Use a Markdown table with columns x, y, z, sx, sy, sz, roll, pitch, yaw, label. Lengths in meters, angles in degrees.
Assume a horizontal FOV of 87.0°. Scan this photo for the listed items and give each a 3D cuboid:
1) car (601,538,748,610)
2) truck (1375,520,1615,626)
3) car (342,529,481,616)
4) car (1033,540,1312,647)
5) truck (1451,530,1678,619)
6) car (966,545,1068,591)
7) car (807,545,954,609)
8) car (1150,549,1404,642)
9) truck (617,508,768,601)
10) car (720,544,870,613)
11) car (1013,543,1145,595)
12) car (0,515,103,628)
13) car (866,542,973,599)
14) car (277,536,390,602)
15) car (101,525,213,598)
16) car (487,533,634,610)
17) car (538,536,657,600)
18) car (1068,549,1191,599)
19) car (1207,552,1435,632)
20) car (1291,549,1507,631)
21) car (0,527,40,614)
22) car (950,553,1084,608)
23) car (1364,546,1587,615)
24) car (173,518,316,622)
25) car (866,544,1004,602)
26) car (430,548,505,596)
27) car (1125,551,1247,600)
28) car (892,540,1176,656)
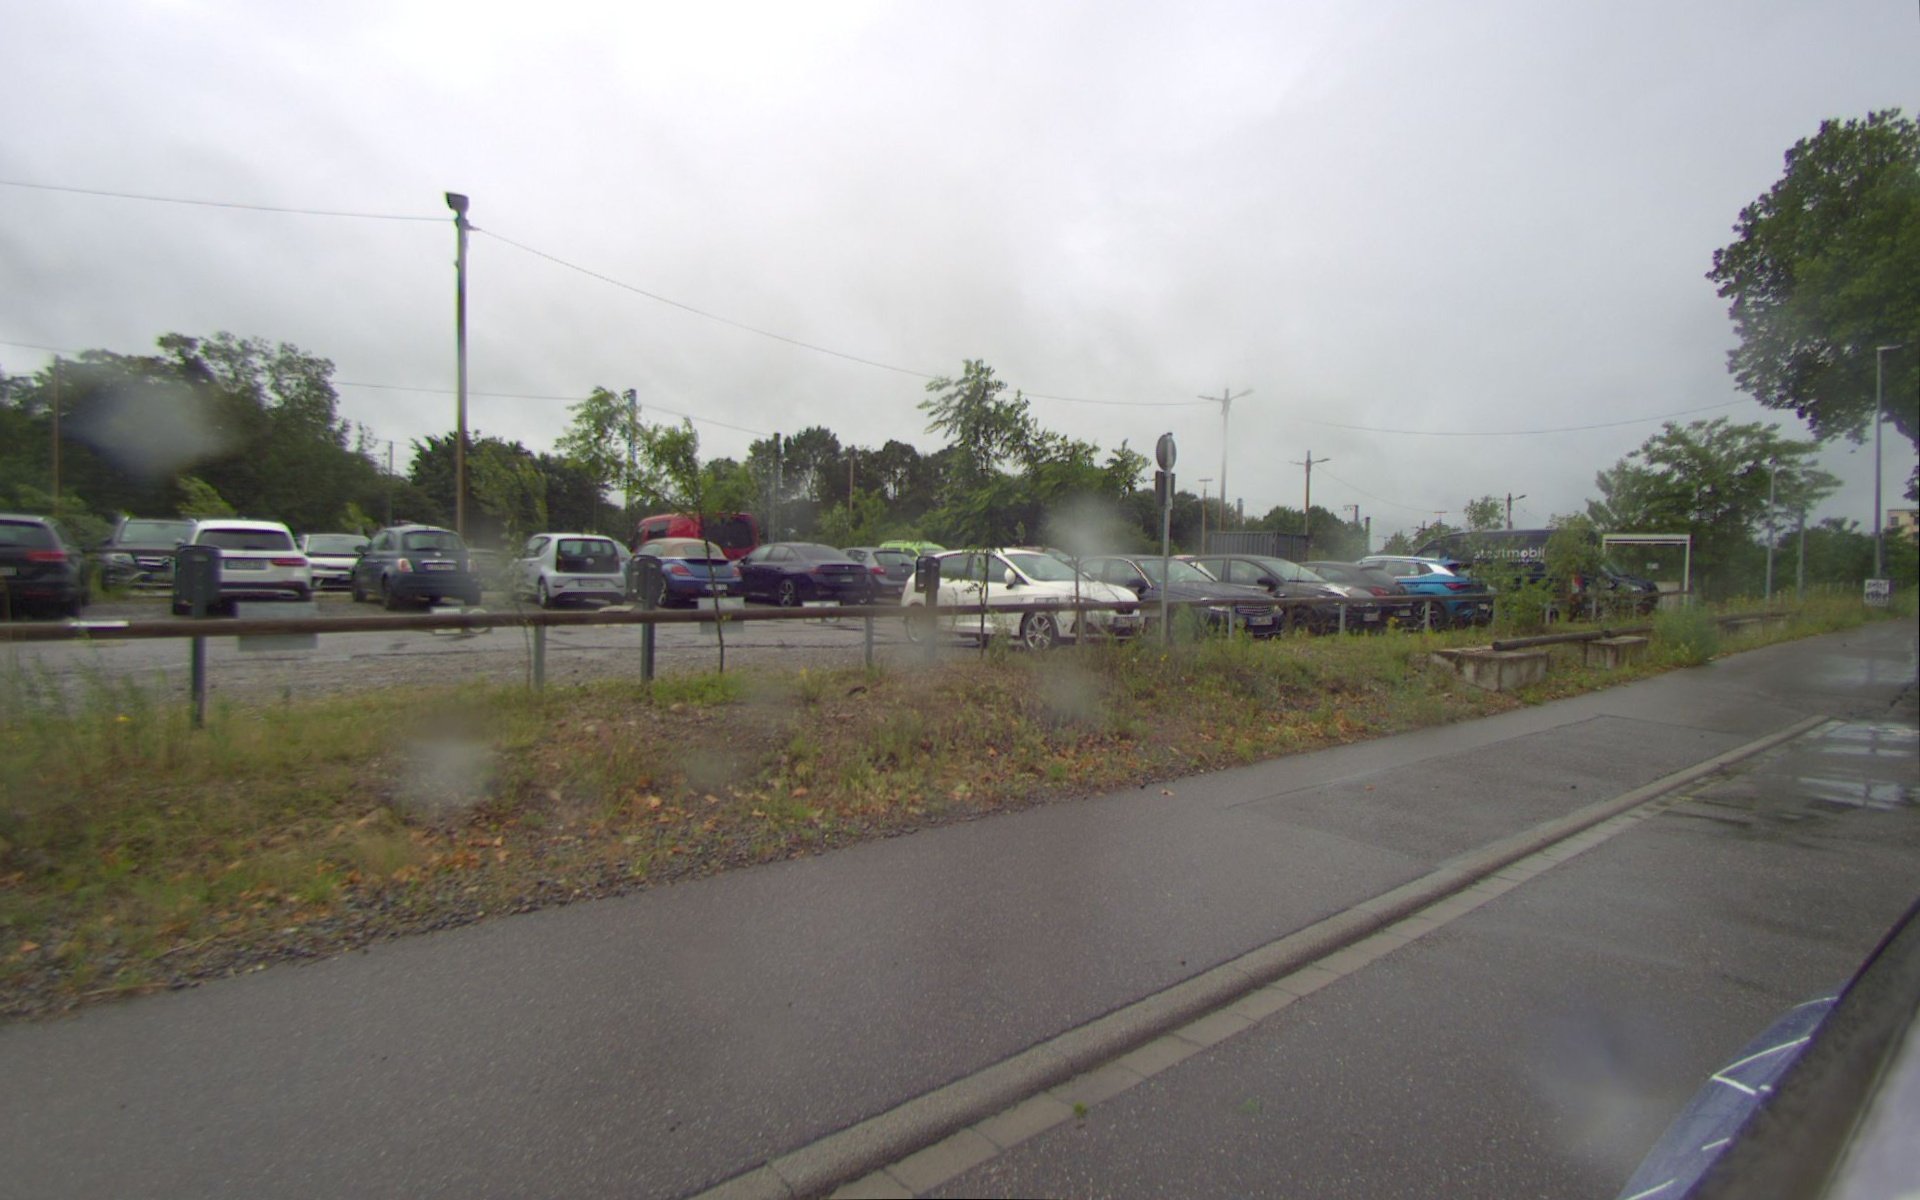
| x | y | z | sx | sy | sz | roll | pitch | yaw | label |
| --- | --- | --- | --- | --- | --- | --- | --- | --- | --- |
| -6.500 | -0.658 | 22.813 | 1.853 | 1.444 | 3.964 | -2 | 4 | -38 | car |
| 13.519 | -0.664 | 25.820 | 2.075 | 2.432 | 5.040 | -1 | 1 | -42 | truck |
| -10.730 | -0.609 | 19.672 | 1.746 | 1.508 | 3.964 | -2 | 4 | -38 | car |
| 3.190 | -0.136 | 15.705 | 1.874 | 1.440 | 3.900 | -2 | 2 | -42 | car |
| 17.547 | -0.732 | 29.641 | 2.038 | 2.352 | 5.340 | -1 | 1 | -40 | truck |
| 2.166 | -1.236 | 39.182 | 1.733 | 1.660 | 3.997 | -1 | 2 | -38 | car |
| -2.092 | -0.652 | 25.598 | 1.853 | 1.444 | 3.964 | -2 | 4 | -38 | car |
| 5.416 | -0.120 | 17.653 | 1.749 | 1.440 | 3.900 | -2 | 2 | -42 | car |
| -7.709 | -1.295 | 28.781 | 2.115 | 2.397 | 5.300 | -1 | 3 | -40 | truck |
| -3.962 | -0.574 | 23.861 | 1.853 | 1.444 | 3.964 | -2 | 4 | -38 | car |
| 3.727 | -1.031 | 32.286 | 1.891 | 1.508 | 4.078 | -2 | 4 | -38 | car |
| -13.997 | -0.488 | 14.999 | 1.746 | 1.508 | 3.964 | -2 | 4 | -38 | car |
| -1.444 | -1.006 | 34.614 | 1.763 | 1.822 | 4.000 | -1 | 2 | -36 | car |
| -14.199 | -0.746 | 22.844 | 1.647 | 1.336 | 3.996 | -1 | 3 | -40 | car |
| -16.329 | -0.807 | 20.610 | 1.646 | 1.336 | 3.998 | -1 | 3 | -39 | car |
| -8.437 | -0.667 | 21.196 | 1.853 | 1.444 | 3.964 | -2 | 4 | -38 | car |
| -9.786 | -0.887 | 27.173 | 1.739 | 1.593 | 3.996 | -1 | 3 | -40 | car |
| 5.598 | -0.909 | 33.751 | 1.676 | 1.497 | 3.964 | -2 | 4 | -38 | car |
| 7.055 | -0.196 | 20.048 | 1.749 | 1.412 | 3.900 | -2 | 2 | -42 | car |
| 9.418 | -0.249 | 21.907 | 1.865 | 1.614 | 3.900 | -2 | 2 | -42 | car |
| -18.415 | -0.614 | 18.859 | 1.646 | 1.511 | 3.997 | -1 | 3 | -39 | car |
| 1.620 | -0.636 | 29.802 | 1.788 | 1.444 | 3.964 | -2 | 4 | -38 | car |
| 11.637 | -0.457 | 23.046 | 1.832 | 1.437 | 4.164 | -2 | 2 | -42 | car |
| -12.007 | -0.572 | 16.905 | 1.746 | 1.508 | 3.964 | -2 | 4 | -38 | car |
| -0.771 | -0.809 | 28.194 | 1.853 | 1.444 | 3.964 | -2 | 4 | -38 | car |
| -17.040 | -1.006 | 34.954 | 1.602 | 1.559 | 3.906 | 0 | 3 | -37 | car |
| 7.901 | -0.916 | 35.588 | 1.774 | 1.555 | 3.964 | -2 | 4 | -38 | car |
| 0.942 | -0.080 | 14.342 | 1.874 | 1.410 | 3.776 | -2 | 2 | -42 | car |
